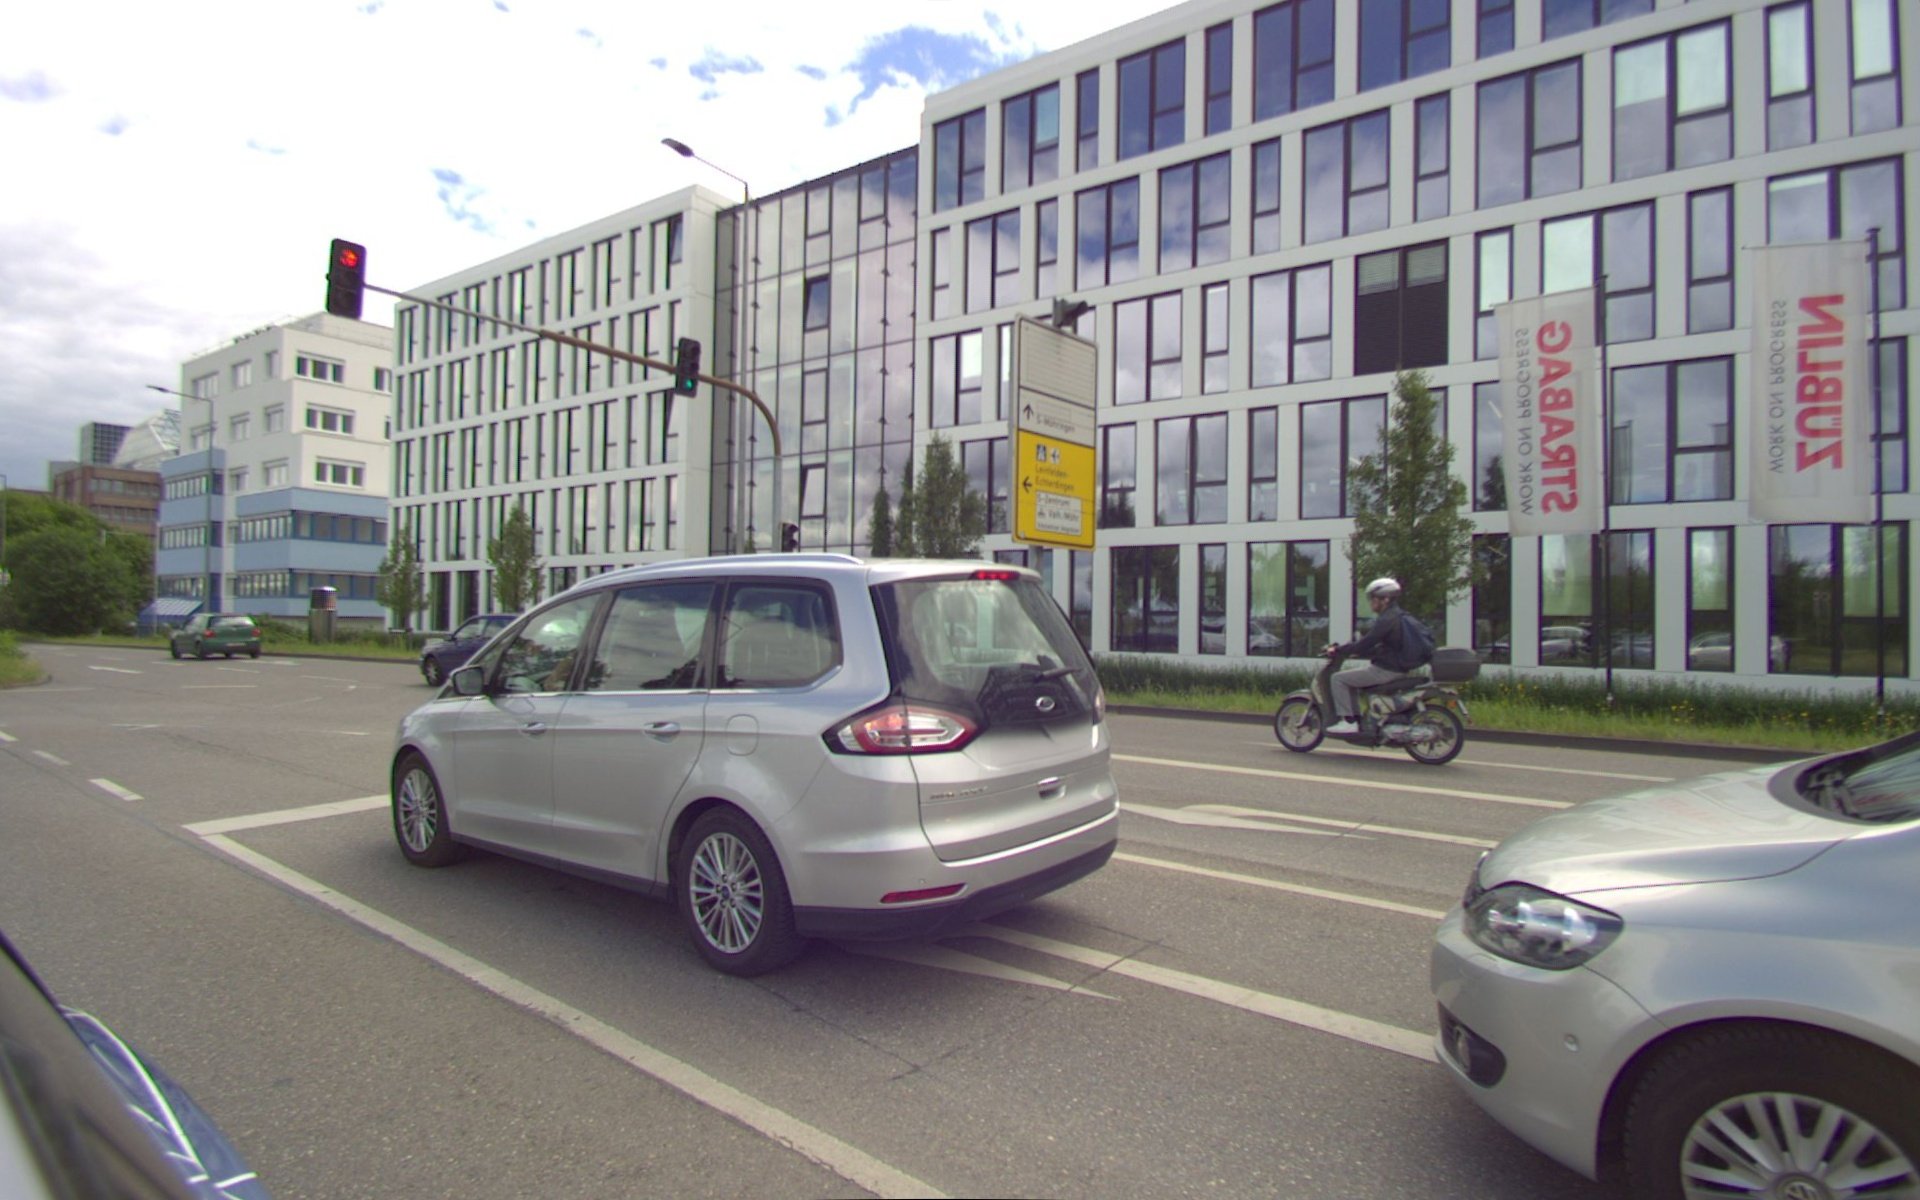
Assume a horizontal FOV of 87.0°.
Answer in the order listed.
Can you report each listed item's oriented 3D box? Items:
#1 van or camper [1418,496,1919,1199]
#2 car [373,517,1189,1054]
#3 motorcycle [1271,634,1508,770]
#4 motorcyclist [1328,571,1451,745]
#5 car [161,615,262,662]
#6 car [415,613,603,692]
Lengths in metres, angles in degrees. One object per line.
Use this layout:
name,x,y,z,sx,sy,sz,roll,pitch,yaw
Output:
van or camper,3.174,0.609,1.715,4.044,1.622,1.726,-1,-1,41
car,-1.212,0.622,5.332,4.367,1.707,1.849,-1,-1,39
motorcycle,3.957,0.893,9.411,1.930,1.121,0.648,-1,-1,37
motorcyclist,3.984,0.517,9.395,0.916,1.521,0.648,-1,-1,36
car,-23.805,1.203,32.151,3.633,1.402,1.590,-1,-1,36
car,-8.721,0.950,19.491,3.632,1.365,1.729,-1,-1,35
